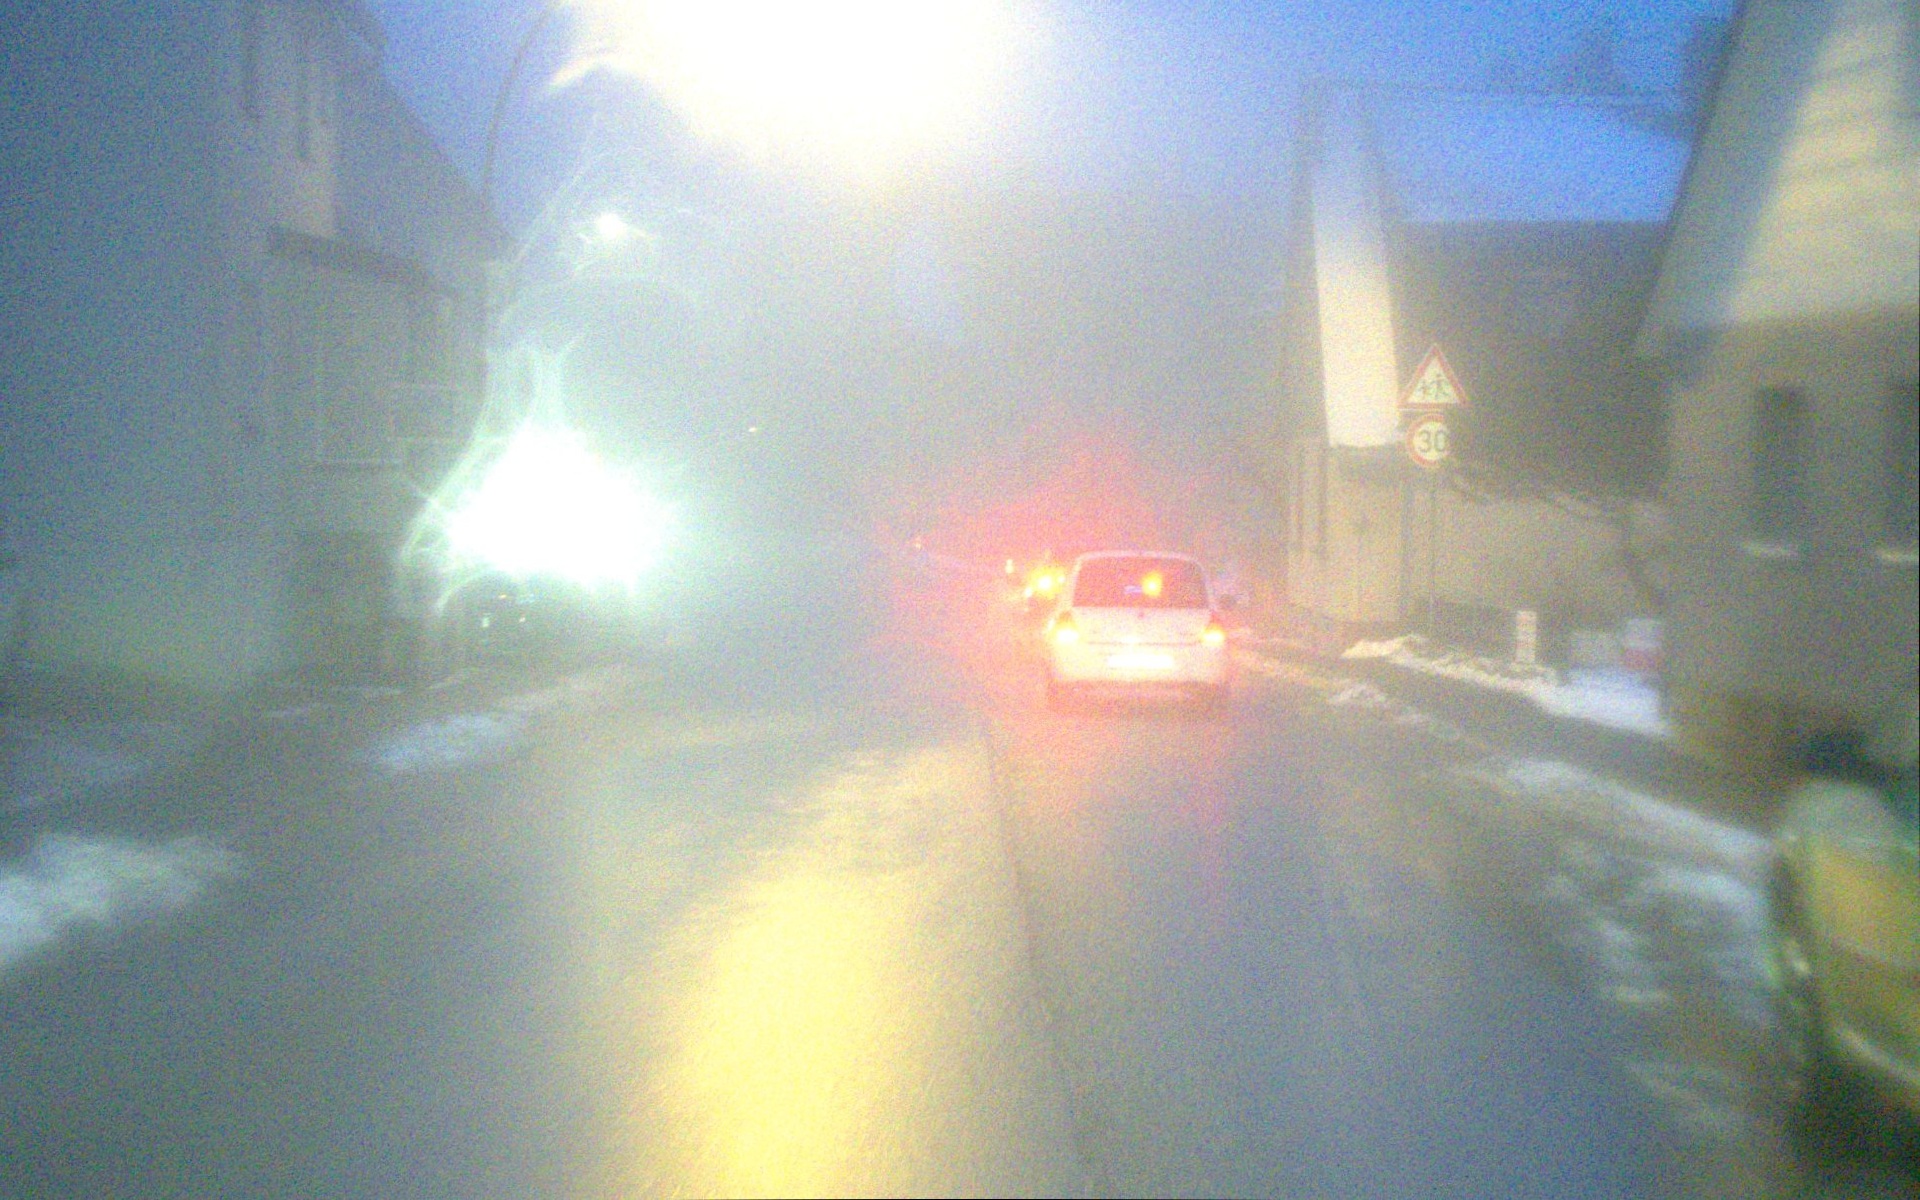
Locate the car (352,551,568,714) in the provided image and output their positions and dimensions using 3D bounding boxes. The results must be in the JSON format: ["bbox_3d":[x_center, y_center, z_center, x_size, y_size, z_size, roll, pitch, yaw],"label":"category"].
[{"bbox_3d":[-5.519,0.320,38.434,1.993,1.517,4.191,3,2,-4],"label":"car"}]

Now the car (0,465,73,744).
[{"bbox_3d":[-6.761,-0.045,21.167,1.764,1.730,4.640,6,0,-7],"label":"car"}]

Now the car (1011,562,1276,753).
[{"bbox_3d":[1.597,0.512,31.346,1.993,1.503,4.000,4,-1,-2],"label":"car"}]

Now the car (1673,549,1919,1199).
[{"bbox_3d":[2.918,0.656,7.650,1.910,1.476,4.281,2,0,3],"label":"car"}]
